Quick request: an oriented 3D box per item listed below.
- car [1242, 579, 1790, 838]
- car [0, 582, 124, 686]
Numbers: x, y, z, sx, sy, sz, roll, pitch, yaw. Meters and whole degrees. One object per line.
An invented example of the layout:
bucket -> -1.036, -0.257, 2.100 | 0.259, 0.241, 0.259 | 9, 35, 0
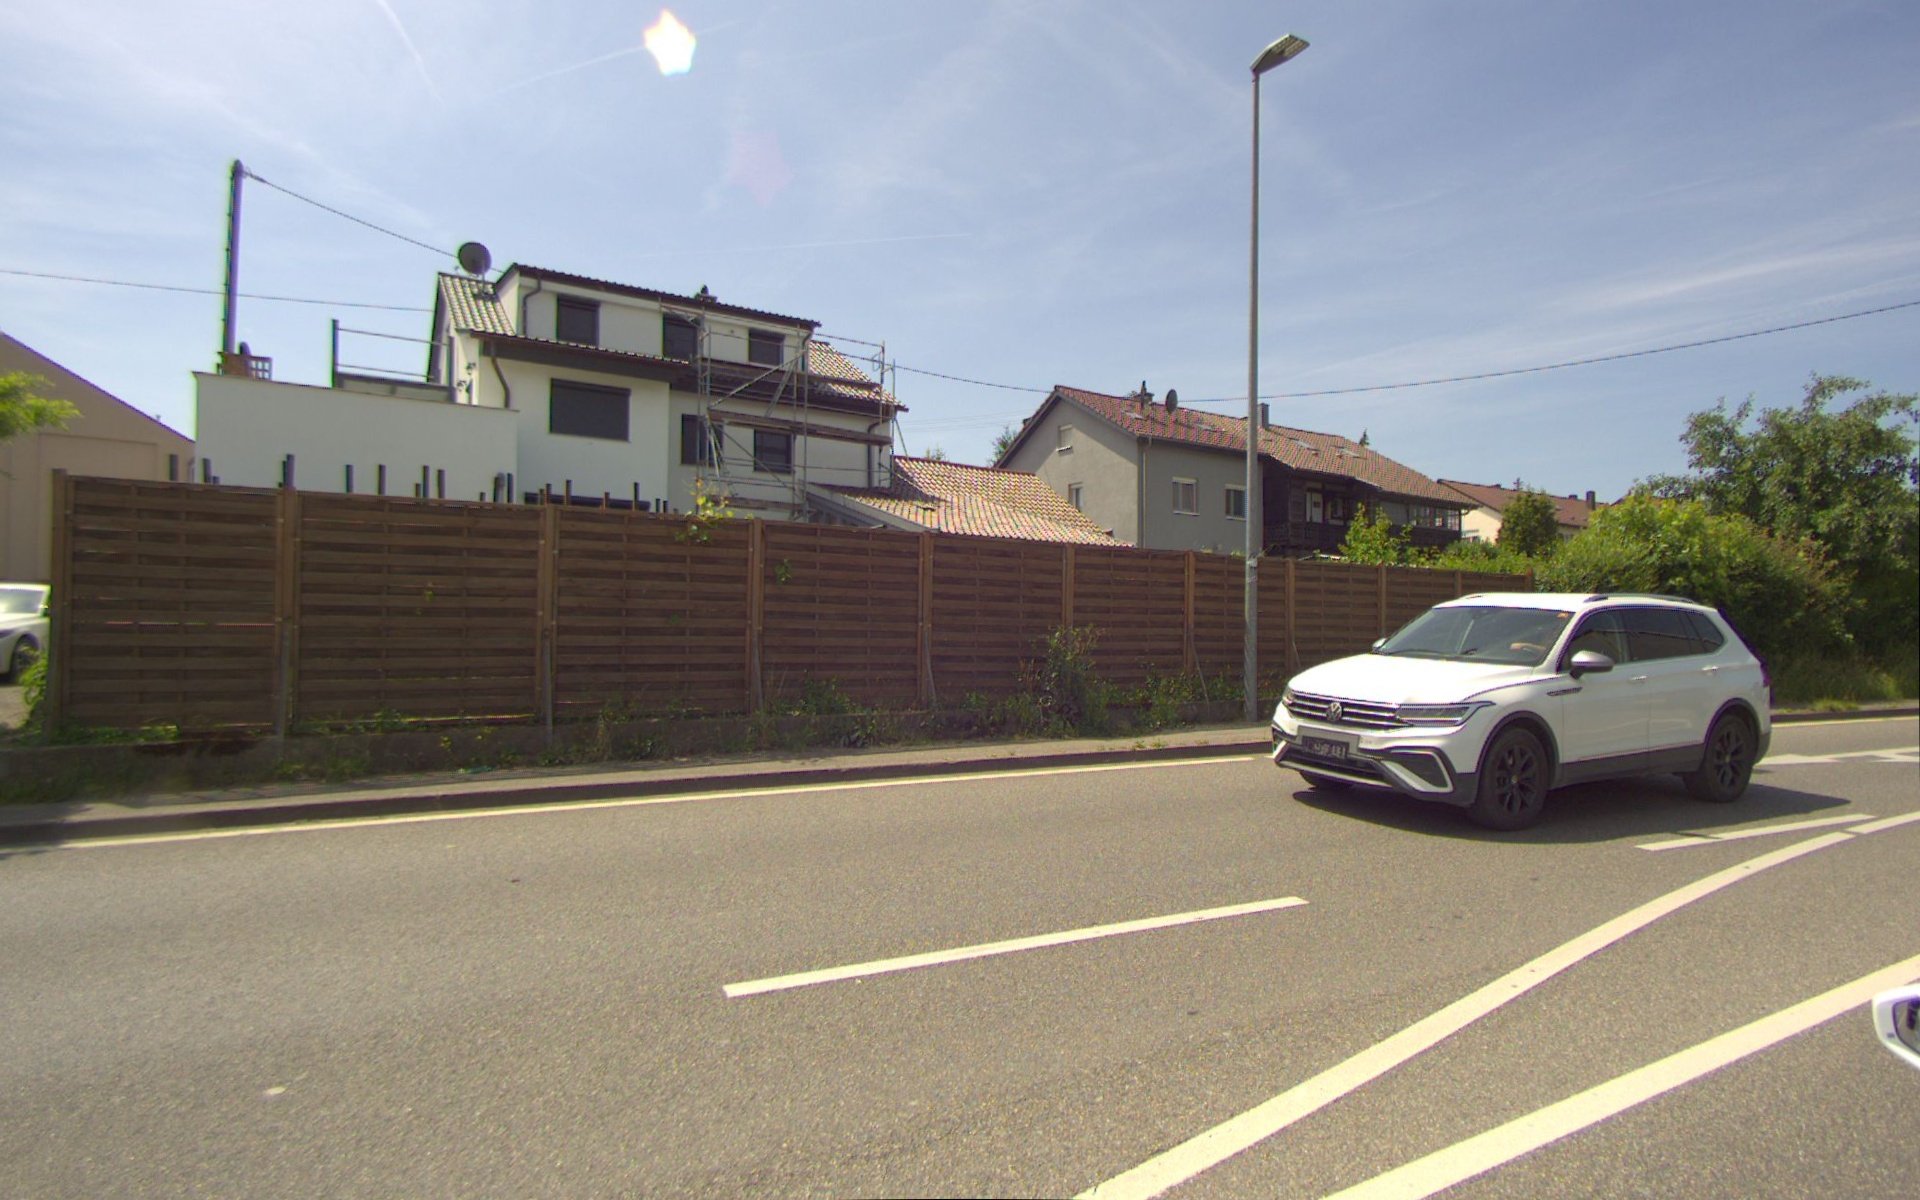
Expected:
car -> 4.640, 0.728, 8.312 | 4.346, 1.677, 1.839 | 1, 0, -27
car -> -14.872, 0.465, 15.371 | 1.854, 1.459, 3.982 | 2, -1, -19
